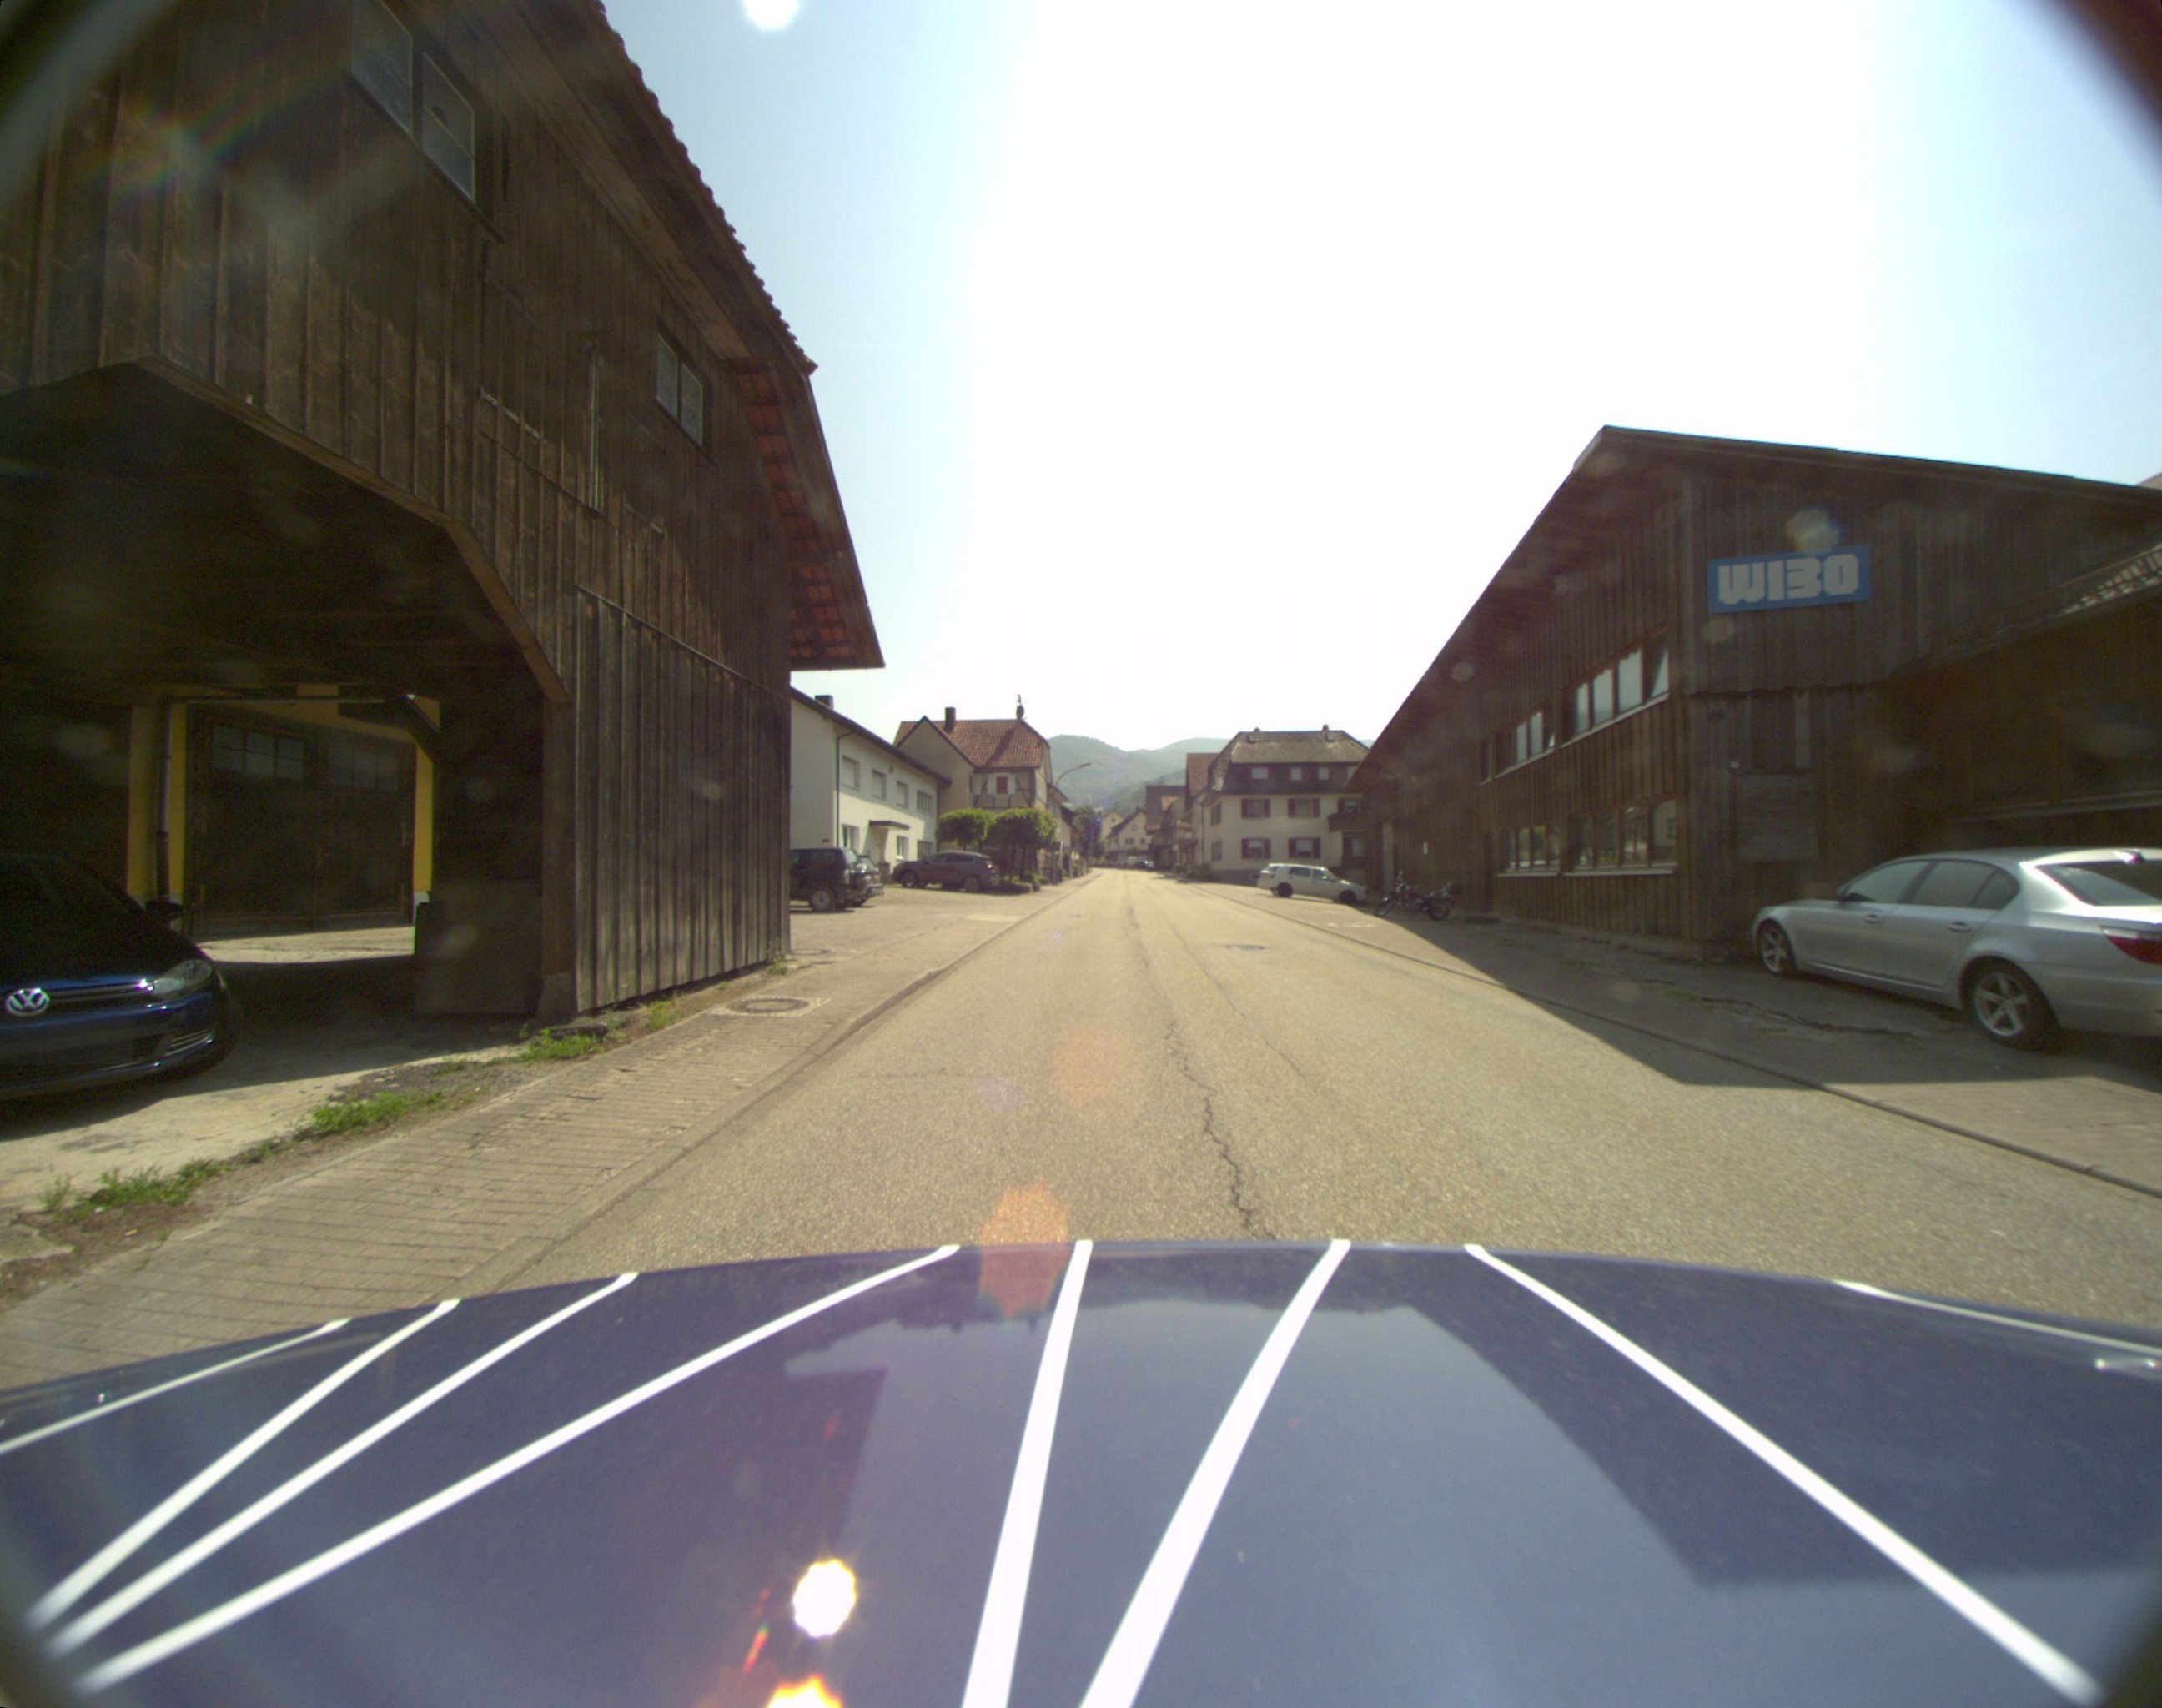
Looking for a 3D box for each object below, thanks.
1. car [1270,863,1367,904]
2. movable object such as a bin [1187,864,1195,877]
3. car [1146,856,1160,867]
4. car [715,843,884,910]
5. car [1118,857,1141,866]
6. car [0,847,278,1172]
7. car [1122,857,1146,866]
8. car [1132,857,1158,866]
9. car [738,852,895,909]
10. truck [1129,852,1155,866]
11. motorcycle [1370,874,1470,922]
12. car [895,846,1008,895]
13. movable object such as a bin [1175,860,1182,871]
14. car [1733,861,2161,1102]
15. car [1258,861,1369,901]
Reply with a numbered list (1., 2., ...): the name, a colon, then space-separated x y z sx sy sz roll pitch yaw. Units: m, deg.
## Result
1. car: 9.813 1.179 31.481 3.662 1.377 1.713 4 1 18
2. movable object such as a bin: 9.231 1.351 63.775 0.677 1.060 0.621 0 0 2
3. car: 11.016 1.182 116.798 1.774 1.544 4.286 -2 0 1
4. car: -8.039 0.617 21.968 4.137 1.822 1.954 1 0 0
5. car: 8.661 1.336 136.355 3.995 1.563 1.577 1 0 5
6. car: -6.858 0.696 4.154 3.991 1.499 1.874 1 -1 19
7. car: 9.241 1.319 133.302 3.997 1.444 1.627 1 0 -1
8. car: 10.490 1.274 124.378 4.104 1.494 1.754 0 0 1
9. car: -8.582 0.850 24.928 4.430 1.749 1.953 1 0 1
10. truck: 10.408 0.872 129.301 4.177 2.253 2.000 -1 0 -2
11. motorcycle: 9.323 1.185 20.983 2.412 1.257 0.744 0 0 13
12. car: -5.389 0.653 31.855 4.228 1.677 1.778 4 1 7
13. movable object such as a bin: 10.788 1.303 83.988 0.719 1.174 0.598 1 0 4
14. car: 8.037 0.802 6.662 1.731 1.445 4.811 -1 -1 17
15. car: 10.473 1.183 34.295 4.431 1.466 1.928 3 1 29
